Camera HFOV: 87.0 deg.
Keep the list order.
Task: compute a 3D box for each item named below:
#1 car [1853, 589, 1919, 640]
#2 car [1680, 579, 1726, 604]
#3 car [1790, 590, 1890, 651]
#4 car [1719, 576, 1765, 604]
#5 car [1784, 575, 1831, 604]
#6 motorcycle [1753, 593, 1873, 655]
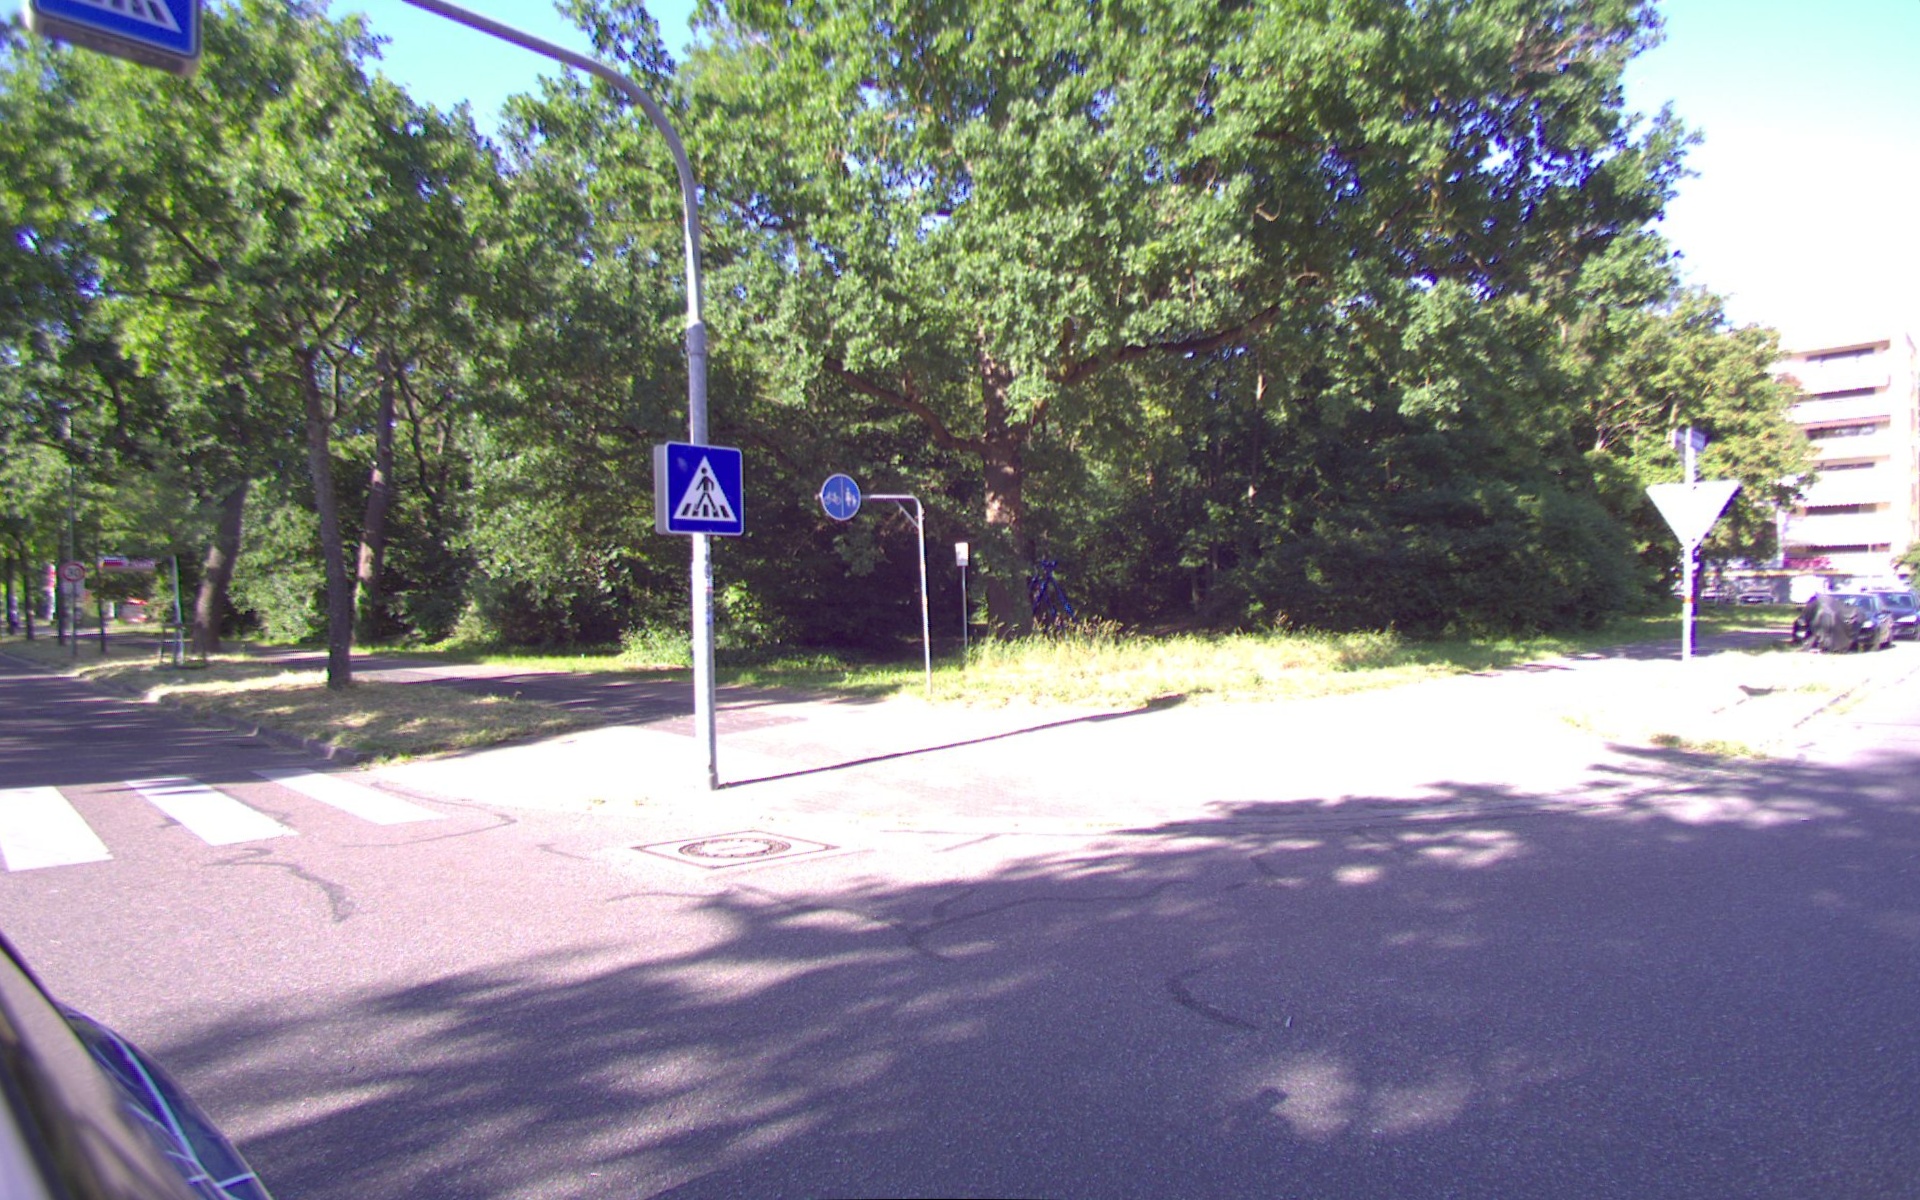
[{"bbox_3d":[27.620,0.390,29.867,3.535,1.402,1.561,-1,0,-43],"label":"car"},{"bbox_3d":[48.980,-0.562,66.702,3.778,1.538,1.802,-1,0,-43],"label":"car"},{"bbox_3d":[22.395,0.493,25.721,3.535,1.402,1.561,-1,0,-43],"label":"car"},{"bbox_3d":[50.674,-0.673,65.535,3.778,1.757,1.764,-1,0,-43],"label":"car"},{"bbox_3d":[52.652,-0.659,62.839,3.778,1.757,1.764,-1,0,-43],"label":"car"},{"bbox_3d":[19.370,0.544,23.019,1.944,1.354,0.672,-1,0,17],"label":"motorcycle"}]
